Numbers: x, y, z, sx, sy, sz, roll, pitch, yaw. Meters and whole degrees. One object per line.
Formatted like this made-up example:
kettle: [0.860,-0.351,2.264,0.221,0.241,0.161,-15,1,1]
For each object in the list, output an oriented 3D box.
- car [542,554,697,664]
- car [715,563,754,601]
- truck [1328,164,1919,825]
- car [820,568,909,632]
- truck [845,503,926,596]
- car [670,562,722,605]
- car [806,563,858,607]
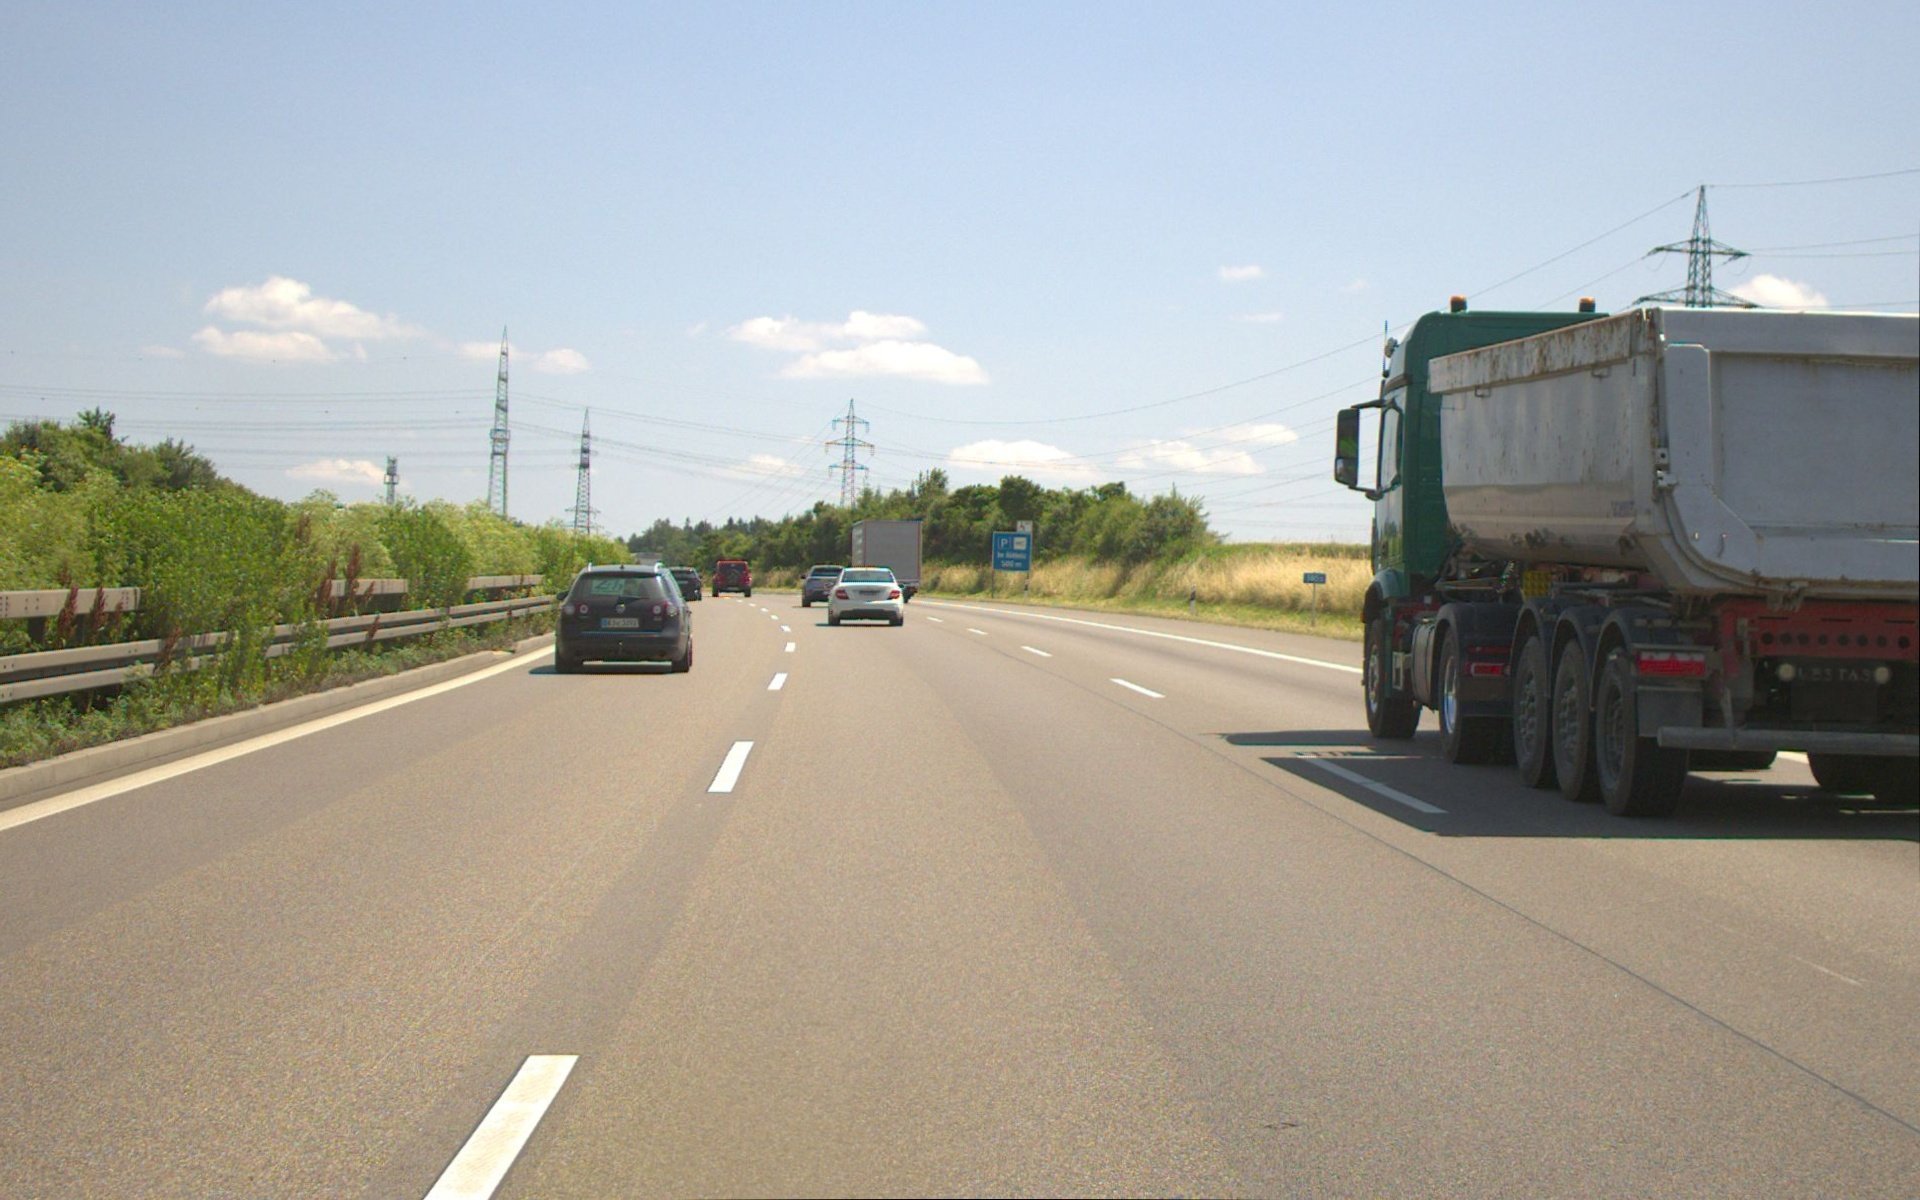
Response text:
car: [-4.600,0.096,46.940,1.756,1.424,4.000,0,1,-1]
car: [-11.405,-0.926,174.144,1.901,1.919,4.001,0,1,-3]
truck: [5.098,-0.660,25.765,2.865,3.711,12.764,0,1,-2]
car: [-2.371,-0.016,84.282,1.819,1.535,3.915,0,1,-7]
truck: [-3.326,-2.143,150.897,3.221,3.911,9.061,1,0,-3]
car: [-11.567,-0.720,150.963,1.993,1.853,4.000,1,1,0]
car: [-4.627,-0.560,124.827,1.838,1.535,3.915,0,1,-1]
